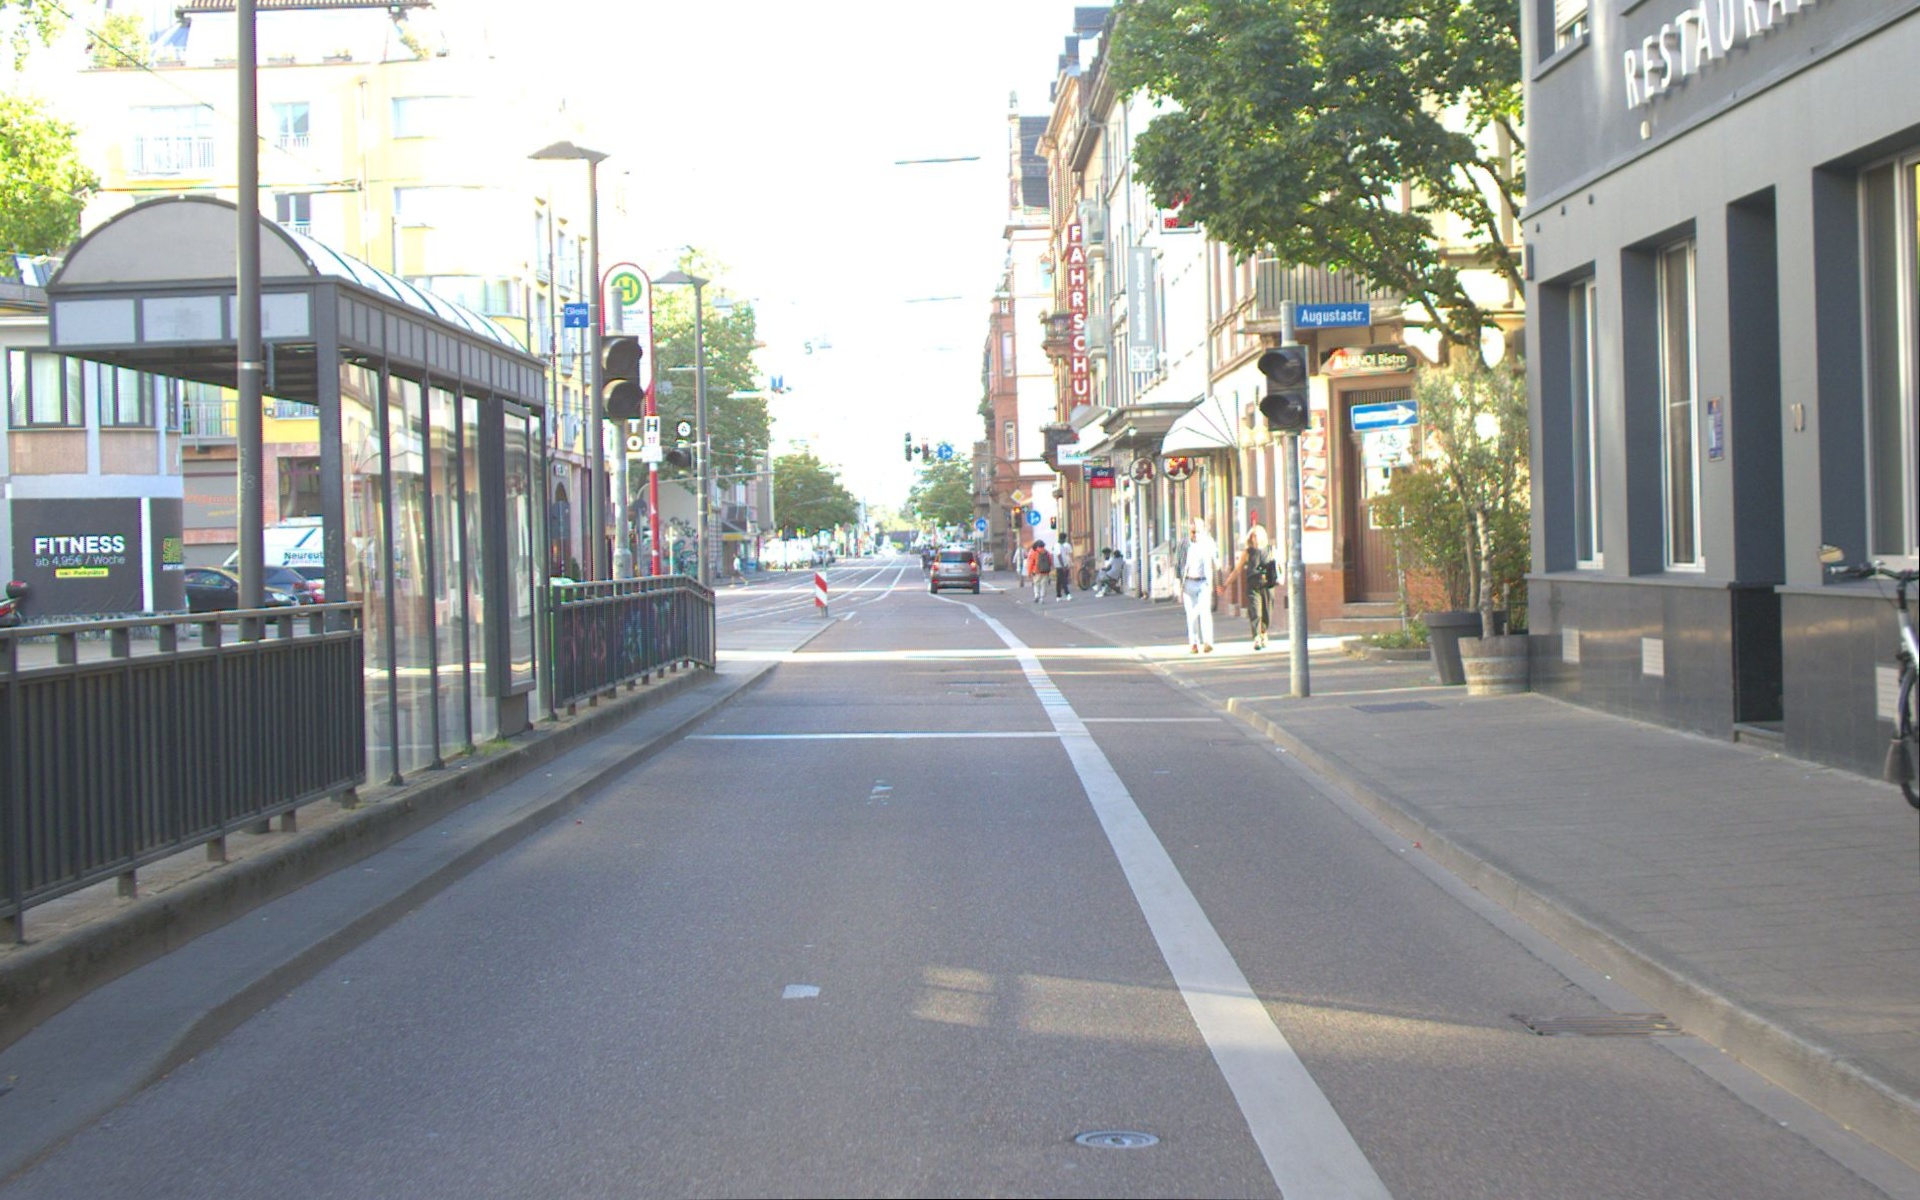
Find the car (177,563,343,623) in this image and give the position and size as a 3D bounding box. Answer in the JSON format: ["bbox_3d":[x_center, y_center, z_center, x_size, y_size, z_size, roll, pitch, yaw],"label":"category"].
[{"bbox_3d":[-18.442,-0.180,90.647,3.987,1.505,1.800,1,0,1],"label":"car"}]

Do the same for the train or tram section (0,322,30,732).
[{"bbox_3d":[-9.600,-0.447,22.292,2.885,3.478,14.951,-2,1,0],"label":"train or tram section"}]

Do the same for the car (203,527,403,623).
[{"bbox_3d":[-18.273,-0.697,95.757,5.106,2.567,2.128,1,0,1],"label":"car"}]

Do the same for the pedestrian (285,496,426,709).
[{"bbox_3d":[-3.363,0.013,19.155,0.685,1.172,0.537,0,0,1],"label":"pedestrian"}]

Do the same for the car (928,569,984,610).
[{"bbox_3d":[-0.164,-0.402,126.175,1.993,1.444,4.000,1,0,-1],"label":"car"}]

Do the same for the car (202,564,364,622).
[{"bbox_3d":[-18.327,-0.189,93.179,3.987,1.505,1.800,1,0,1],"label":"car"}]

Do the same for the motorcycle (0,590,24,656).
[{"bbox_3d":[-19.647,0.417,68.523,1.794,1.293,0.606,3,0,-6],"label":"motorcycle"}]

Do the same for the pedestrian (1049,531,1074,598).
[{"bbox_3d":[2.695,-0.944,91.384,0.648,1.790,0.561,0,0,4],"label":"pedestrian"}]

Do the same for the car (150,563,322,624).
[{"bbox_3d":[-18.527,-0.172,88.067,3.987,1.505,1.800,1,0,1],"label":"car"}]

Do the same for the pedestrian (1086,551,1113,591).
[{"bbox_3d":[3.669,-0.760,90.176,0.690,1.040,0.680,0,0,4],"label":"pedestrian"}]

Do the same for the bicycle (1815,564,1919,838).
[{"bbox_3d":[4.532,0.442,15.798,0.623,1.194,1.908,-3,1,-2],"label":"bicycle"}]

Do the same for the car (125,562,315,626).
[{"bbox_3d":[-18.380,-0.150,85.485,4.320,1.505,1.800,1,0,1],"label":"car"}]

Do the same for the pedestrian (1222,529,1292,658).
[{"bbox_3d":[3.780,-0.086,43.726,0.713,1.597,0.773,-3,1,-3],"label":"pedestrian"}]

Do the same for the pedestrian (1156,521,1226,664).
[{"bbox_3d":[2.930,-0.100,43.652,0.713,1.768,0.773,-3,1,-3],"label":"pedestrian"}]

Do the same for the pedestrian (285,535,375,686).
[{"bbox_3d":[-7.341,0.115,40.085,0.869,1.708,0.788,2,1,-3],"label":"pedestrian"}]

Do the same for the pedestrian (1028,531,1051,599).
[{"bbox_3d":[2.101,-0.912,90.844,0.560,1.790,0.650,0,0,6],"label":"pedestrian"}]

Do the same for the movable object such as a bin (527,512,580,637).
[{"bbox_3d":[-3.103,-0.192,26.231,0.352,0.941,0.530,0,0,-1],"label":"movable object such as a bin"}]

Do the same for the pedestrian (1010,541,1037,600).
[{"bbox_3d":[2.030,-0.947,110.406,0.843,1.911,0.661,0,0,-2],"label":"pedestrian"}]

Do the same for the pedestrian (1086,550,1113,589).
[{"bbox_3d":[3.689,-0.809,90.949,0.690,1.040,0.680,0,0,4],"label":"pedestrian"}]
